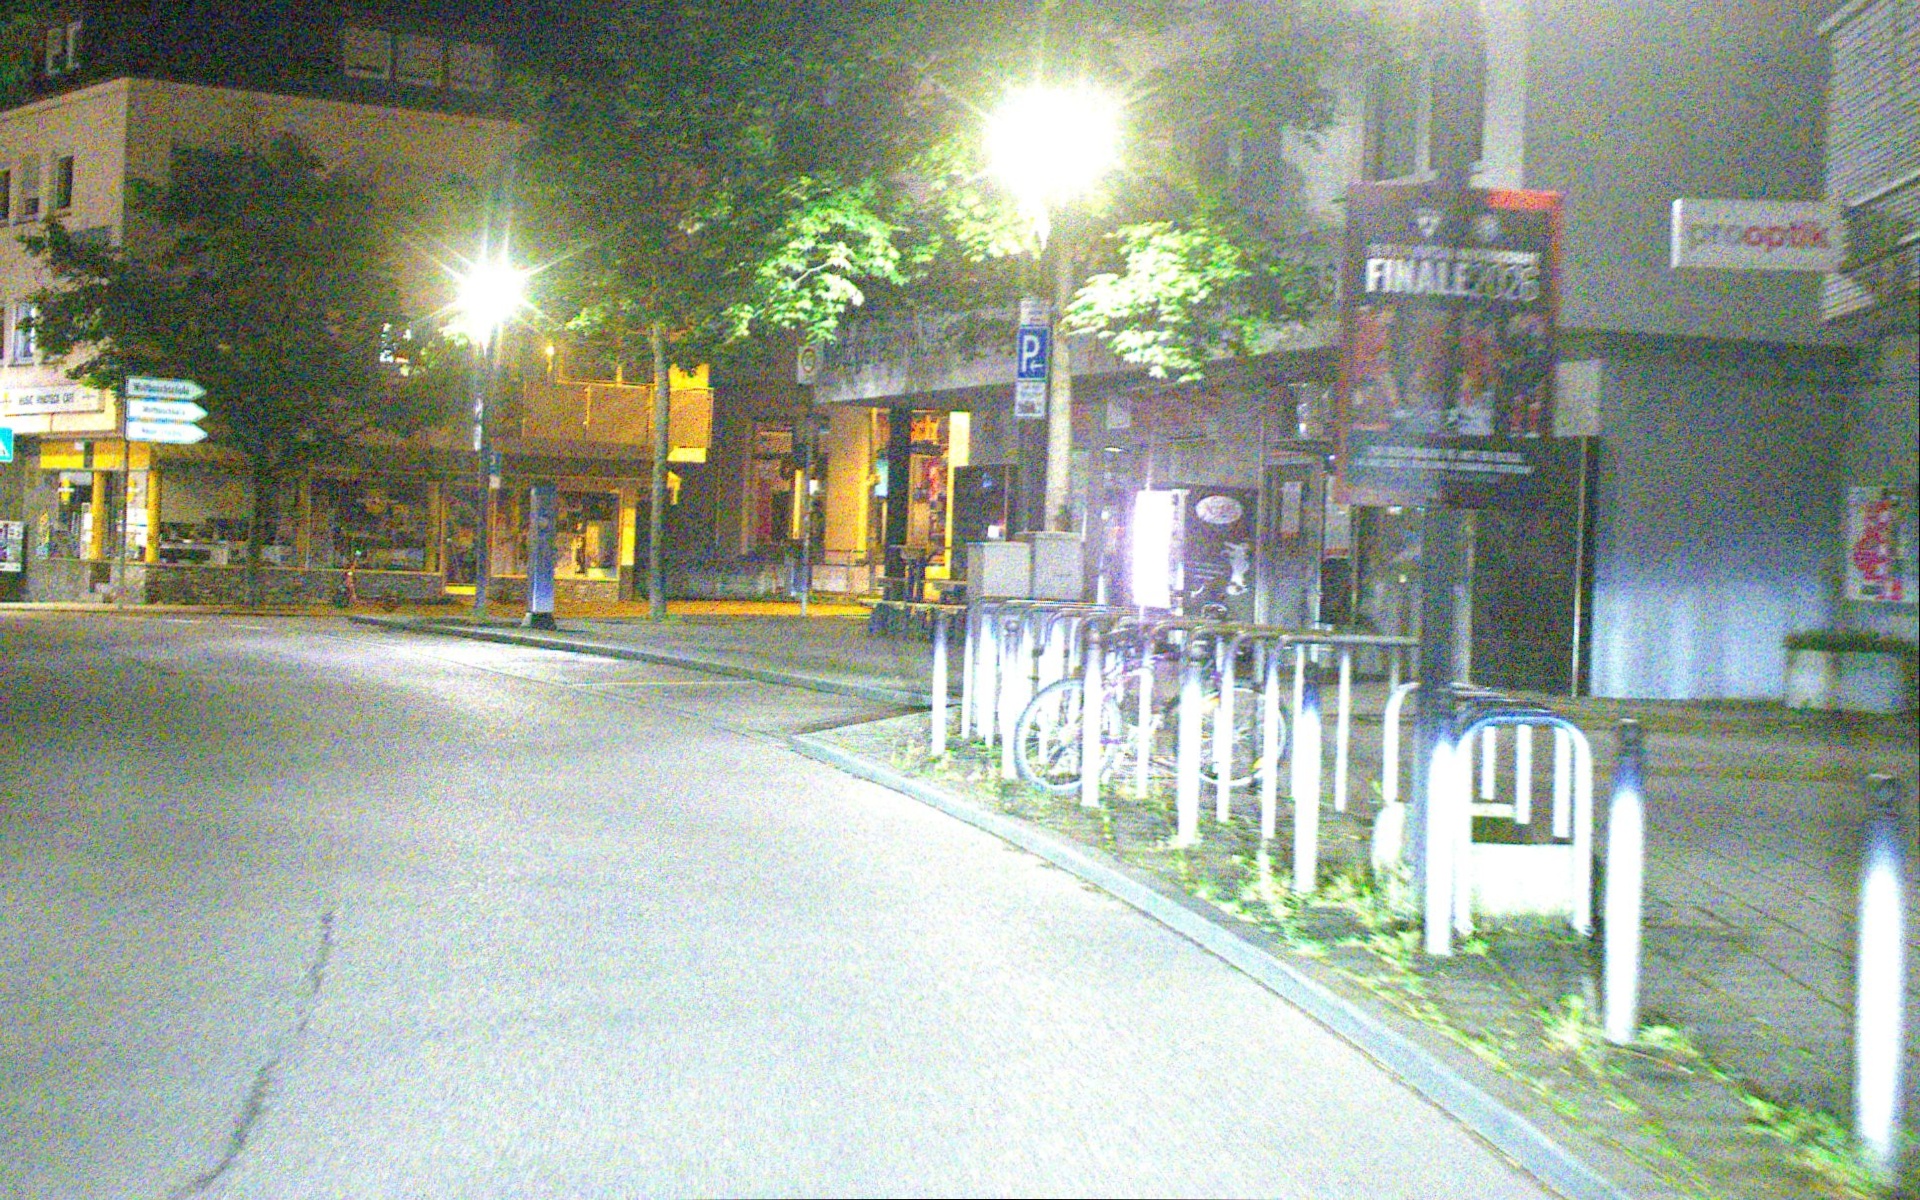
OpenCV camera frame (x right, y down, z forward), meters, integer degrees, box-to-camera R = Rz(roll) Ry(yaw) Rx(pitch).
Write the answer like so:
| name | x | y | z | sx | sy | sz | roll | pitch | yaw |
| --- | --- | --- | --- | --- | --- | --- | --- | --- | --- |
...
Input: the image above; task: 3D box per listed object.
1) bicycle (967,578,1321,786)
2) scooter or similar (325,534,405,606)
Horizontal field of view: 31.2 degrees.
| name | x | y | z | sx | sy | sz | roll | pitch | yaw |
| --- | --- | --- | --- | --- | --- | --- | --- | --- | --- |
| bicycle | 0.990 | 0.442 | 18.491 | 1.749 | 1.059 | 0.656 | 1 | 2 | -21 |
| scooter or similar | -10.661 | -0.539 | 61.578 | 1.246 | 1.223 | 0.598 | 3 | 1 | -24 |
